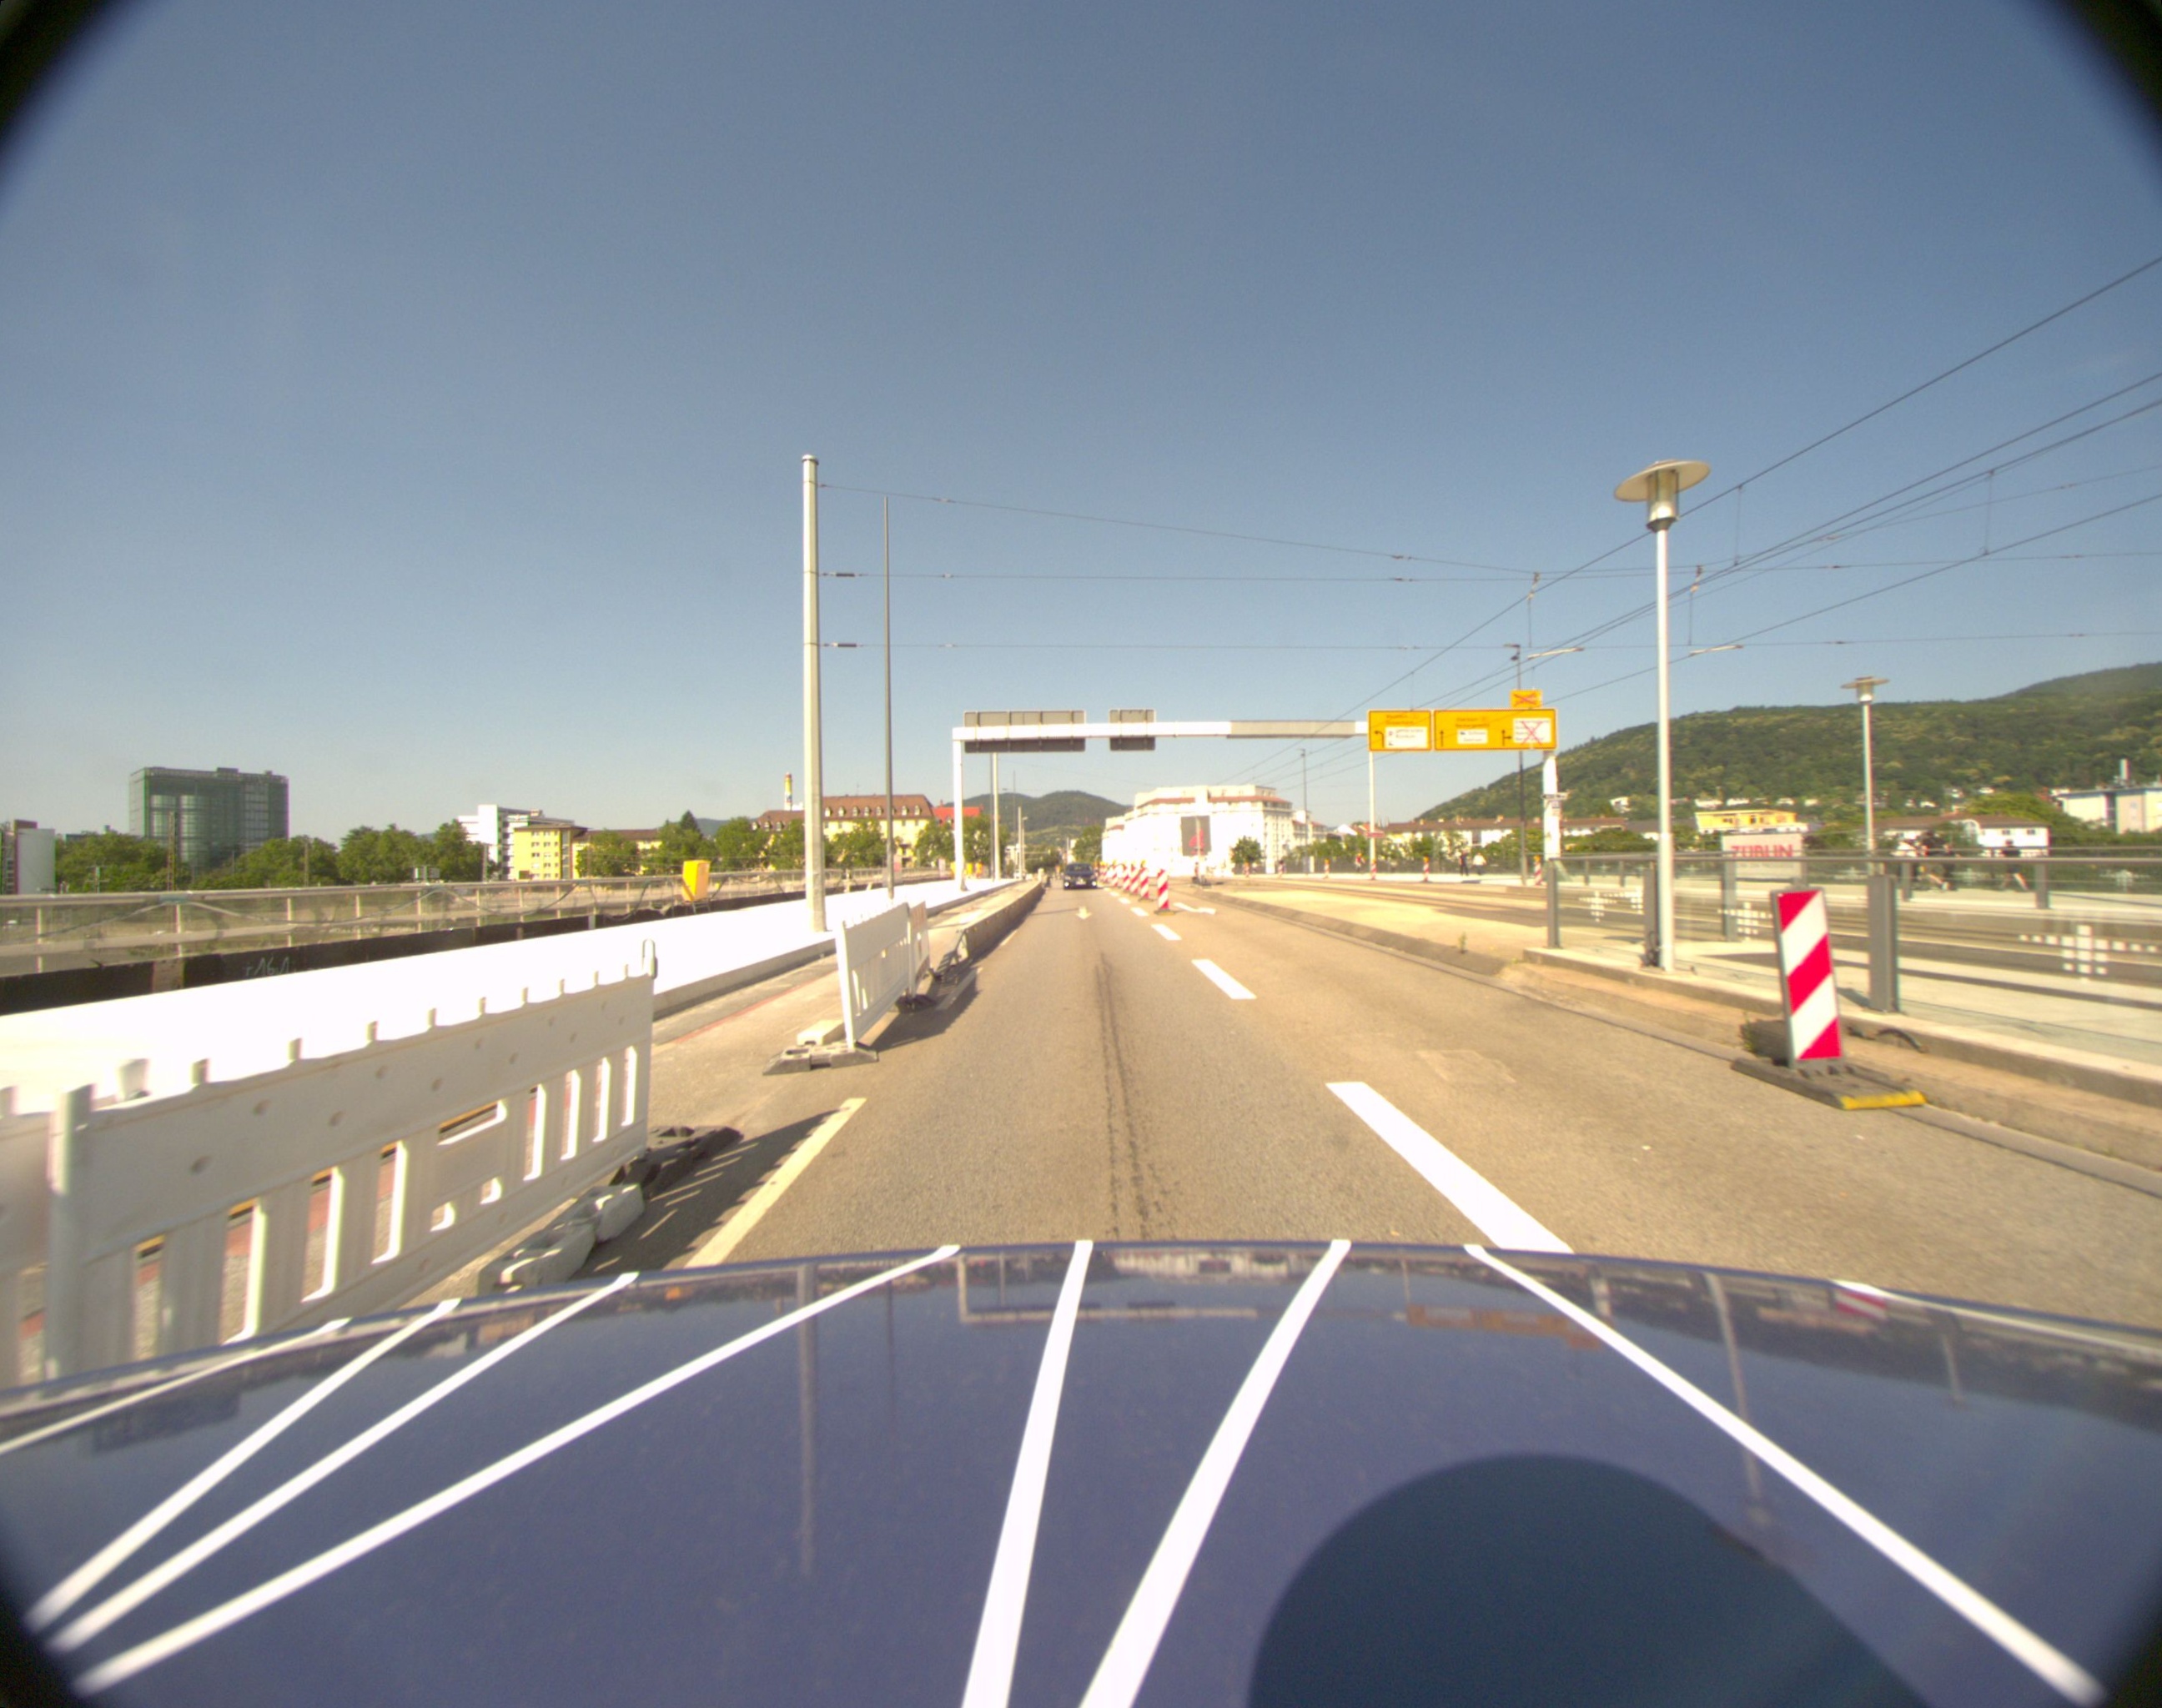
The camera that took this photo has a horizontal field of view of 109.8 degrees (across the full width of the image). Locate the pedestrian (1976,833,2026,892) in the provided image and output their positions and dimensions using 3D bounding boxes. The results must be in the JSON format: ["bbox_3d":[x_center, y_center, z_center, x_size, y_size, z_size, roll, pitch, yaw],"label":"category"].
[{"bbox_3d":[26.555,0.246,21.945,0.505,1.677,0.773,-1,0,1],"label":"pedestrian"}]

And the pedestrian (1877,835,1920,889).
[{"bbox_3d":[25.912,0.270,24.098,0.487,1.677,0.808,-1,0,1],"label":"pedestrian"}]

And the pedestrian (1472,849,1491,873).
[{"bbox_3d":[26.262,0.446,49.834,0.721,1.535,0.889,-3,0,-3],"label":"pedestrian"}]

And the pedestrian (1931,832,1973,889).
[{"bbox_3d":[26.280,0.197,22.937,0.384,1.677,0.770,-1,0,1],"label":"pedestrian"}]

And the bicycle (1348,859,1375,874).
[{"bbox_3d":[23.396,1.061,63.441,0.858,1.187,3.072,-2,-1,-3],"label":"bicycle"}]

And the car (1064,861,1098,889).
[{"bbox_3d":[-0.045,1.117,41.672,1.698,1.388,4.363,-3,-1,-1],"label":"car"}]

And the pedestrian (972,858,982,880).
[{"bbox_3d":[-9.420,1.332,68.943,0.733,1.953,1.016,0,-1,-2],"label":"pedestrian"}]

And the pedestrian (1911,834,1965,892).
[{"bbox_3d":[25.563,0.265,22.674,0.754,1.677,0.732,-1,0,1],"label":"pedestrian"}]

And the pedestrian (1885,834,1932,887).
[{"bbox_3d":[26.595,0.210,24.419,0.599,1.677,0.818,-1,0,1],"label":"pedestrian"}]

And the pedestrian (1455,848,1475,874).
[{"bbox_3d":[25.292,0.464,50.058,0.746,1.632,0.895,-3,0,-3],"label":"pedestrian"}]

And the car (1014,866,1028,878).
[{"bbox_3d":[-10.260,3.134,131.192,1.938,2.077,6.471,-1,-2,-1],"label":"car"}]

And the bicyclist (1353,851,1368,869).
[{"bbox_3d":[23.365,0.506,63.543,0.858,1.510,0.817,-2,0,-3],"label":"bicyclist"}]
